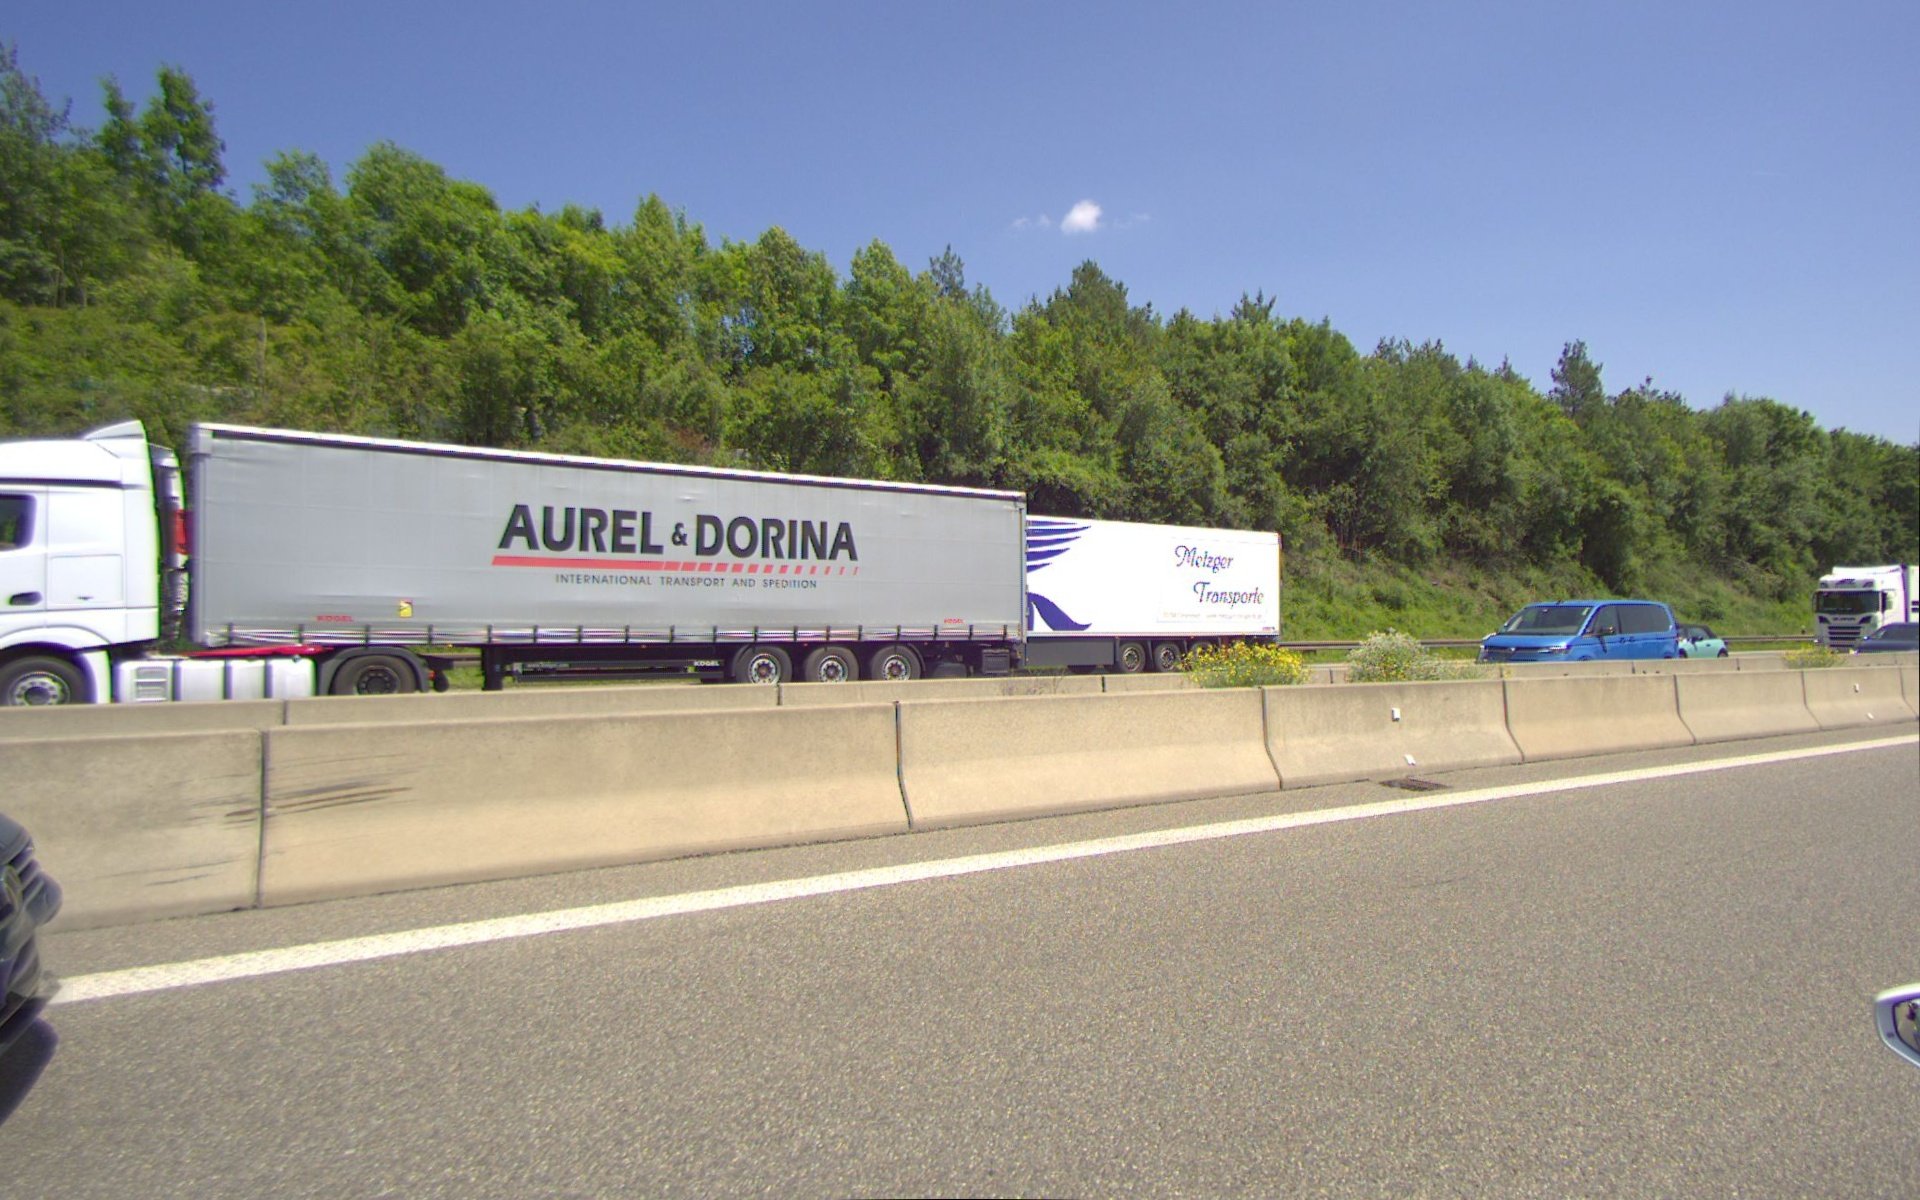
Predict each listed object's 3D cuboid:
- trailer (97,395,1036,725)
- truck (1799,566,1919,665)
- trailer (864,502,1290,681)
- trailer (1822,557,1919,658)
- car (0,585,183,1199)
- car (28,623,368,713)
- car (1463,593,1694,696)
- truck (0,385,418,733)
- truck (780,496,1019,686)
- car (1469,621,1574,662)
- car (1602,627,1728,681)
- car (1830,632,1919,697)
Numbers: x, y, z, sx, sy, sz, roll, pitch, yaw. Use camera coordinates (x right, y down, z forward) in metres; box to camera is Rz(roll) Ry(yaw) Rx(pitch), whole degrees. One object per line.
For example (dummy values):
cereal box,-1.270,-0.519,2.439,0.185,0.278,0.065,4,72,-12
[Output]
trailer,-5.415,-0.326,17.795,14.568,4.220,2.821,1,-2,-31
truck,41.582,0.800,45.742,7.509,4.220,2.790,2,-2,-30
trailer,3.645,0.028,27.373,12.483,4.100,2.793,2,-2,-31
trailer,46.487,0.548,48.593,13.870,4.395,2.790,2,-2,-30
car,-4.480,0.666,1.772,4.674,1.446,1.724,1,-2,-30
car,-12.845,1.107,17.361,4.448,1.388,1.754,1,-1,-30
car,12.582,0.911,20.360,4.977,1.871,1.903,2,-3,-31
truck,-11.013,-0.455,14.408,5.593,4.270,2.827,1,-1,-30
truck,-1.450,-0.091,24.240,5.026,4.100,2.794,2,-2,-31
car,21.378,1.564,38.194,4.141,1.486,1.658,1,-1,-31
car,20.121,1.530,28.642,3.687,1.464,1.575,2,-3,-30
car,26.436,1.750,28.055,4.484,1.662,1.897,1,-1,-31
